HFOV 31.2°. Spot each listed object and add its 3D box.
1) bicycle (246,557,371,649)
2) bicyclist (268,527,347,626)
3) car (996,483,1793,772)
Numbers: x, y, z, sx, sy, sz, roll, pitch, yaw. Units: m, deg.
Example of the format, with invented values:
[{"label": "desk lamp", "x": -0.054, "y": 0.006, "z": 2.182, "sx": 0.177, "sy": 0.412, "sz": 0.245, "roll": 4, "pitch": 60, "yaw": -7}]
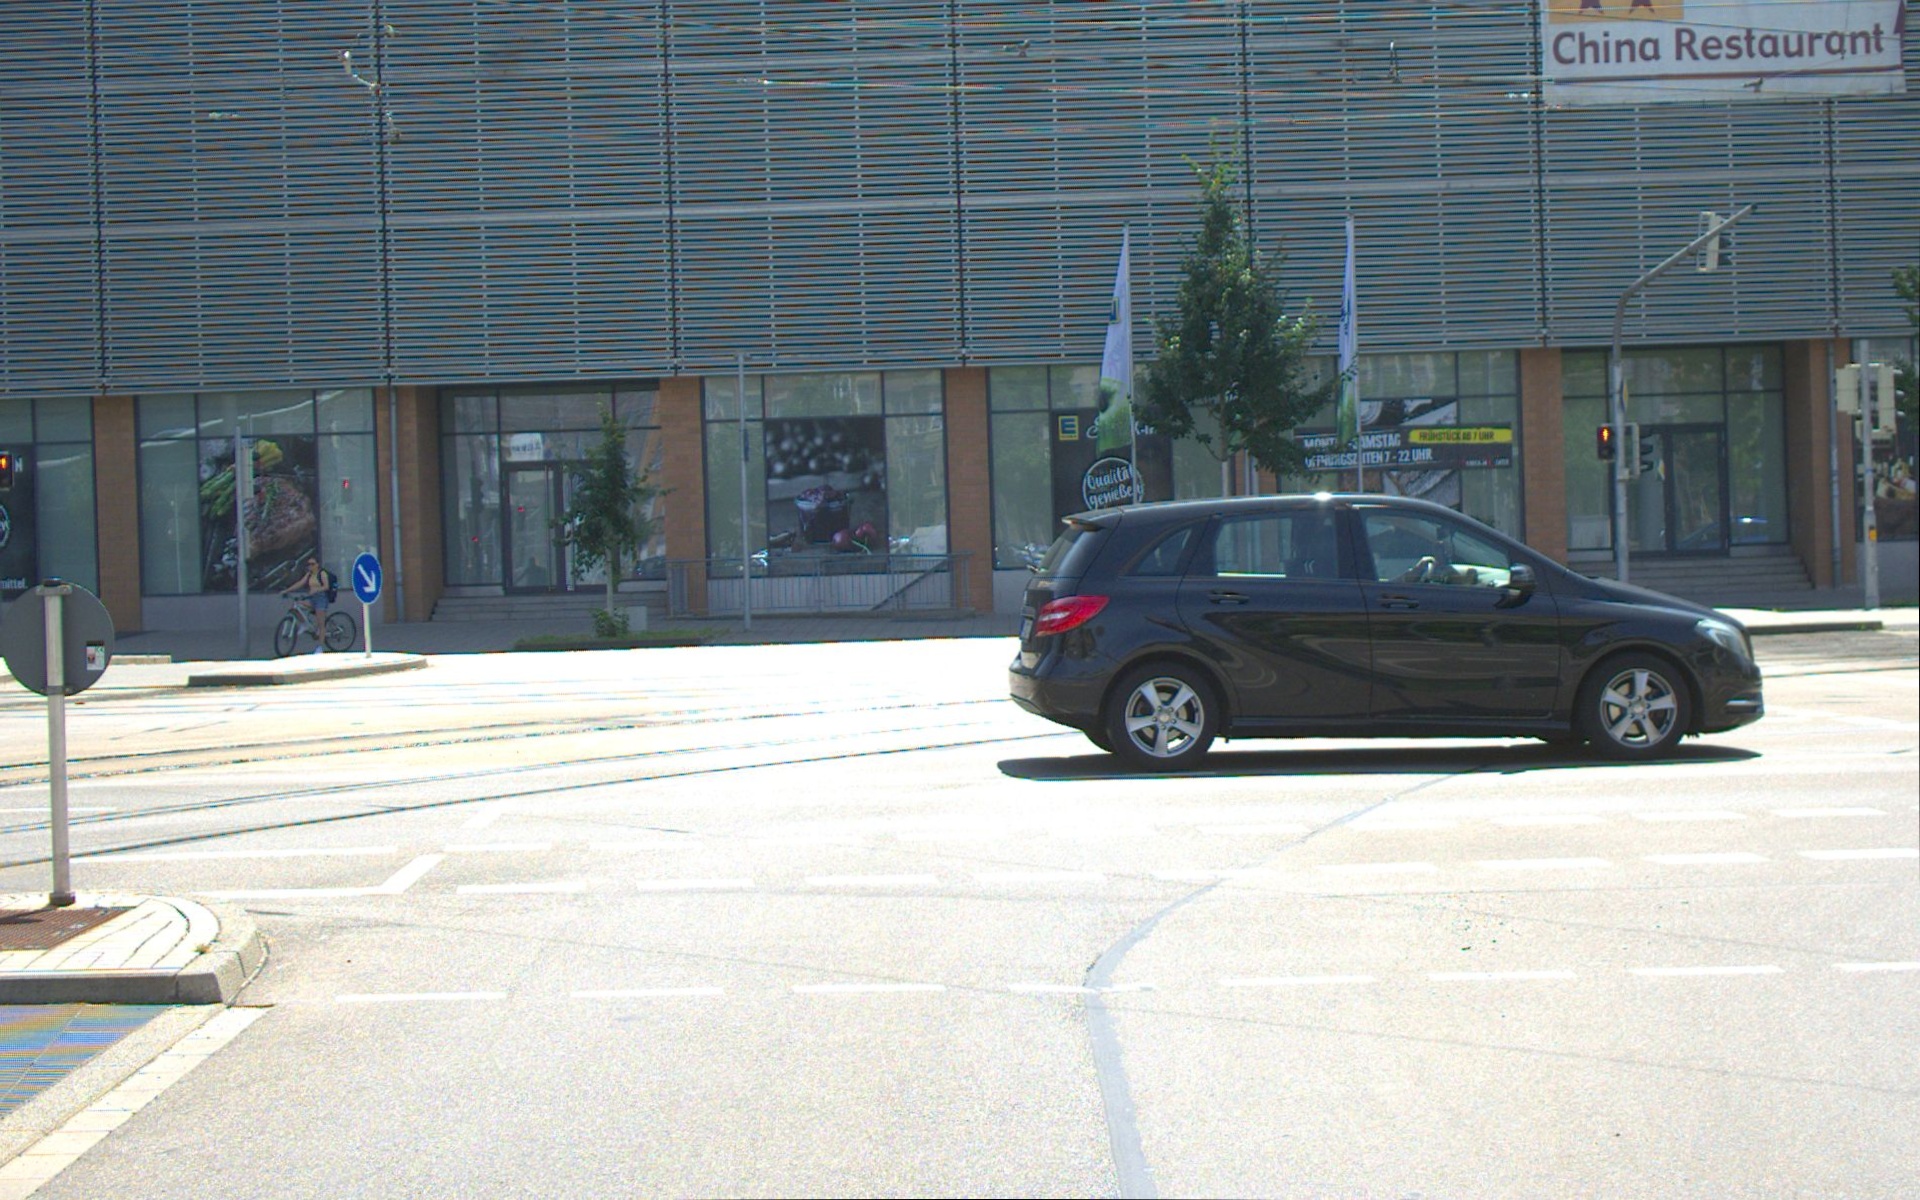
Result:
[{"label": "bicycle", "x": -10.490, "y": 0.027, "z": 55.493, "sx": 1.062, "sy": 1.385, "sz": 3.023, "roll": 0, "pitch": 2, "yaw": 7}, {"label": "bicyclist", "x": -10.507, "y": -0.387, "z": 55.389, "sx": 1.040, "sy": 1.566, "sz": 0.777, "roll": 0, "pitch": 2, "yaw": 7}, {"label": "car", "x": 2.444, "y": 0.118, "z": 20.119, "sx": 4.319, "sy": 1.548, "sz": 2.000, "roll": -1, "pitch": 2, "yaw": -4}]
